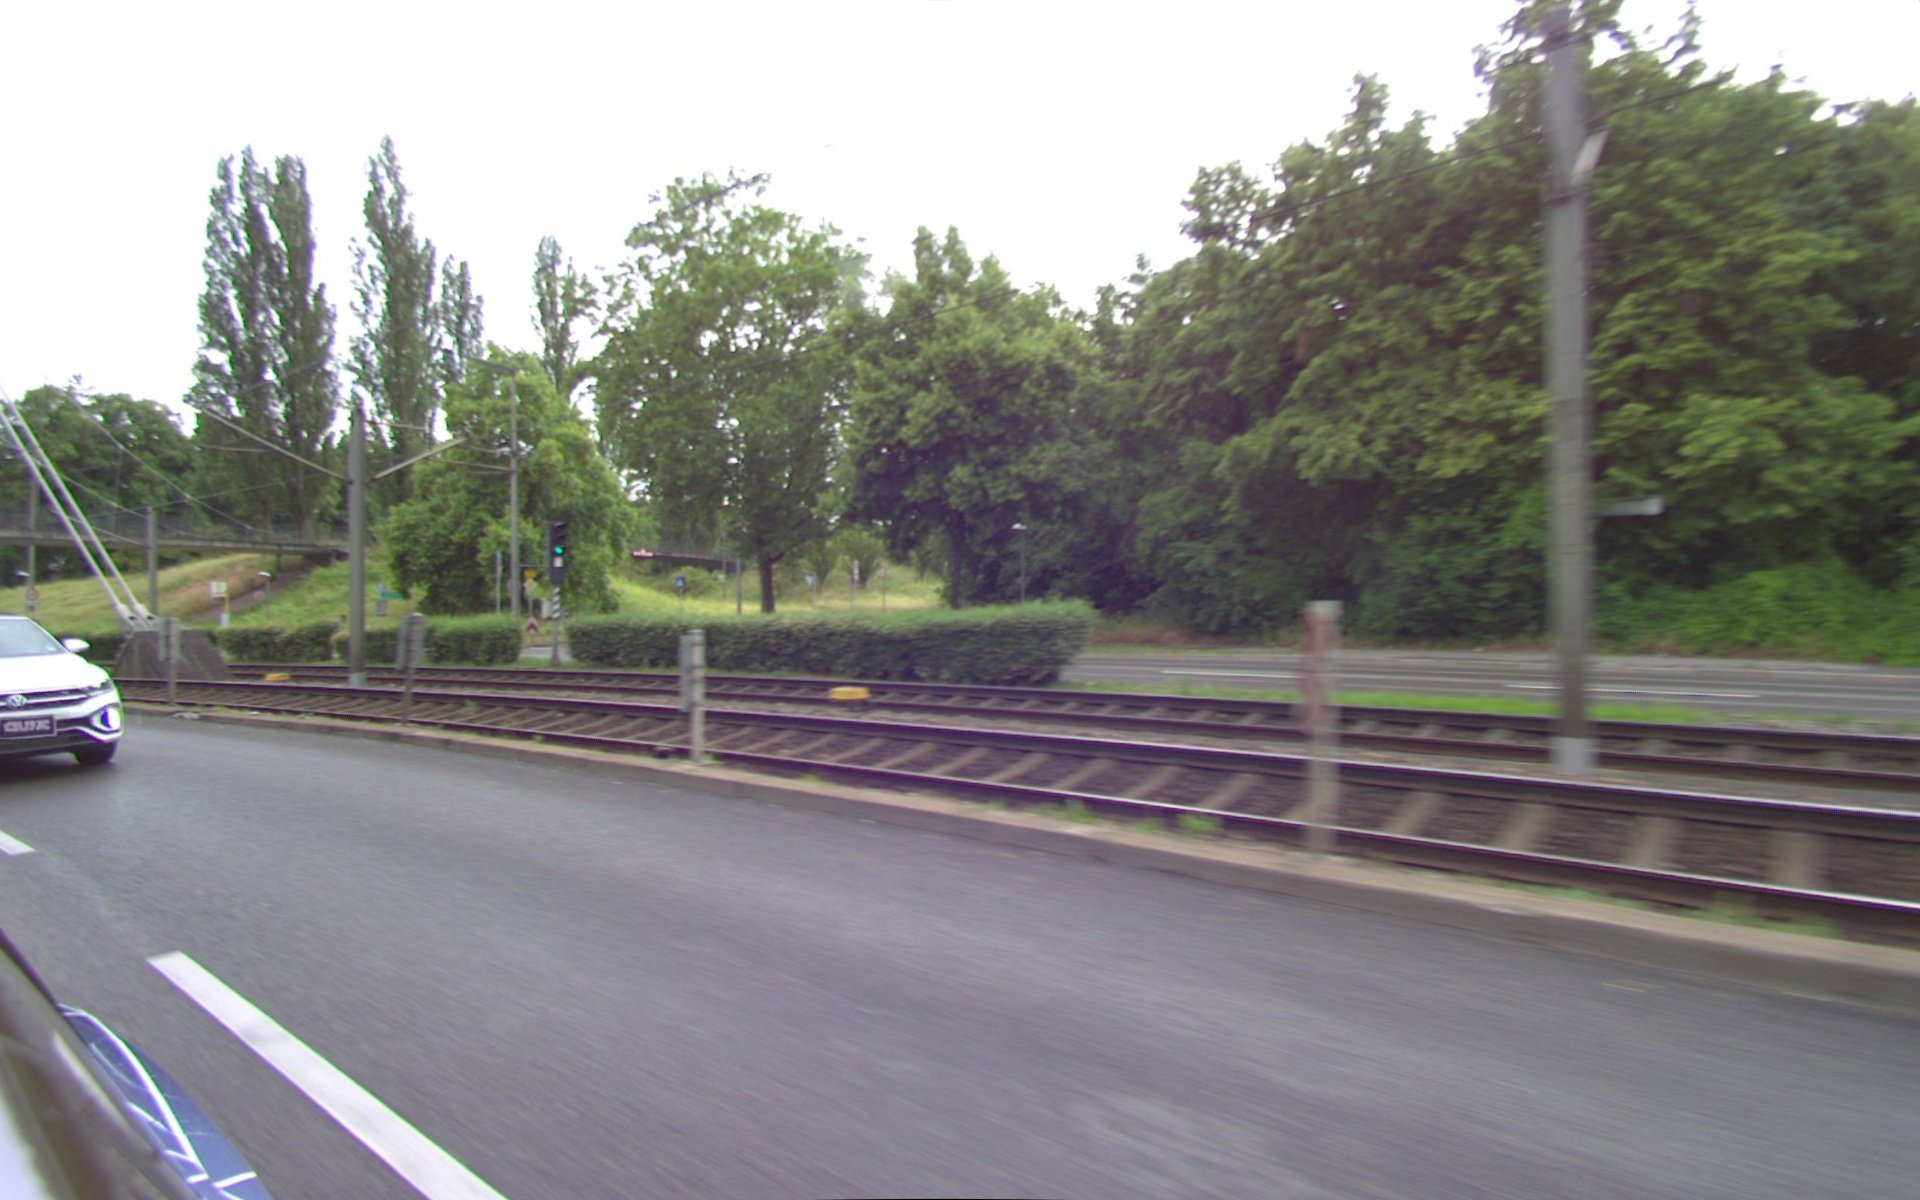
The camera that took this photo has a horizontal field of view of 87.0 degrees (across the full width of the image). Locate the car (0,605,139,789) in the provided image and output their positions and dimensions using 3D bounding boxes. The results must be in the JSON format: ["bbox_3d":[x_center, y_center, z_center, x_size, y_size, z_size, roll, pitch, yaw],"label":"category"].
[{"bbox_3d":[-9.989,0.889,9.811,4.527,1.535,1.856,-2,0,33],"label":"car"}]
